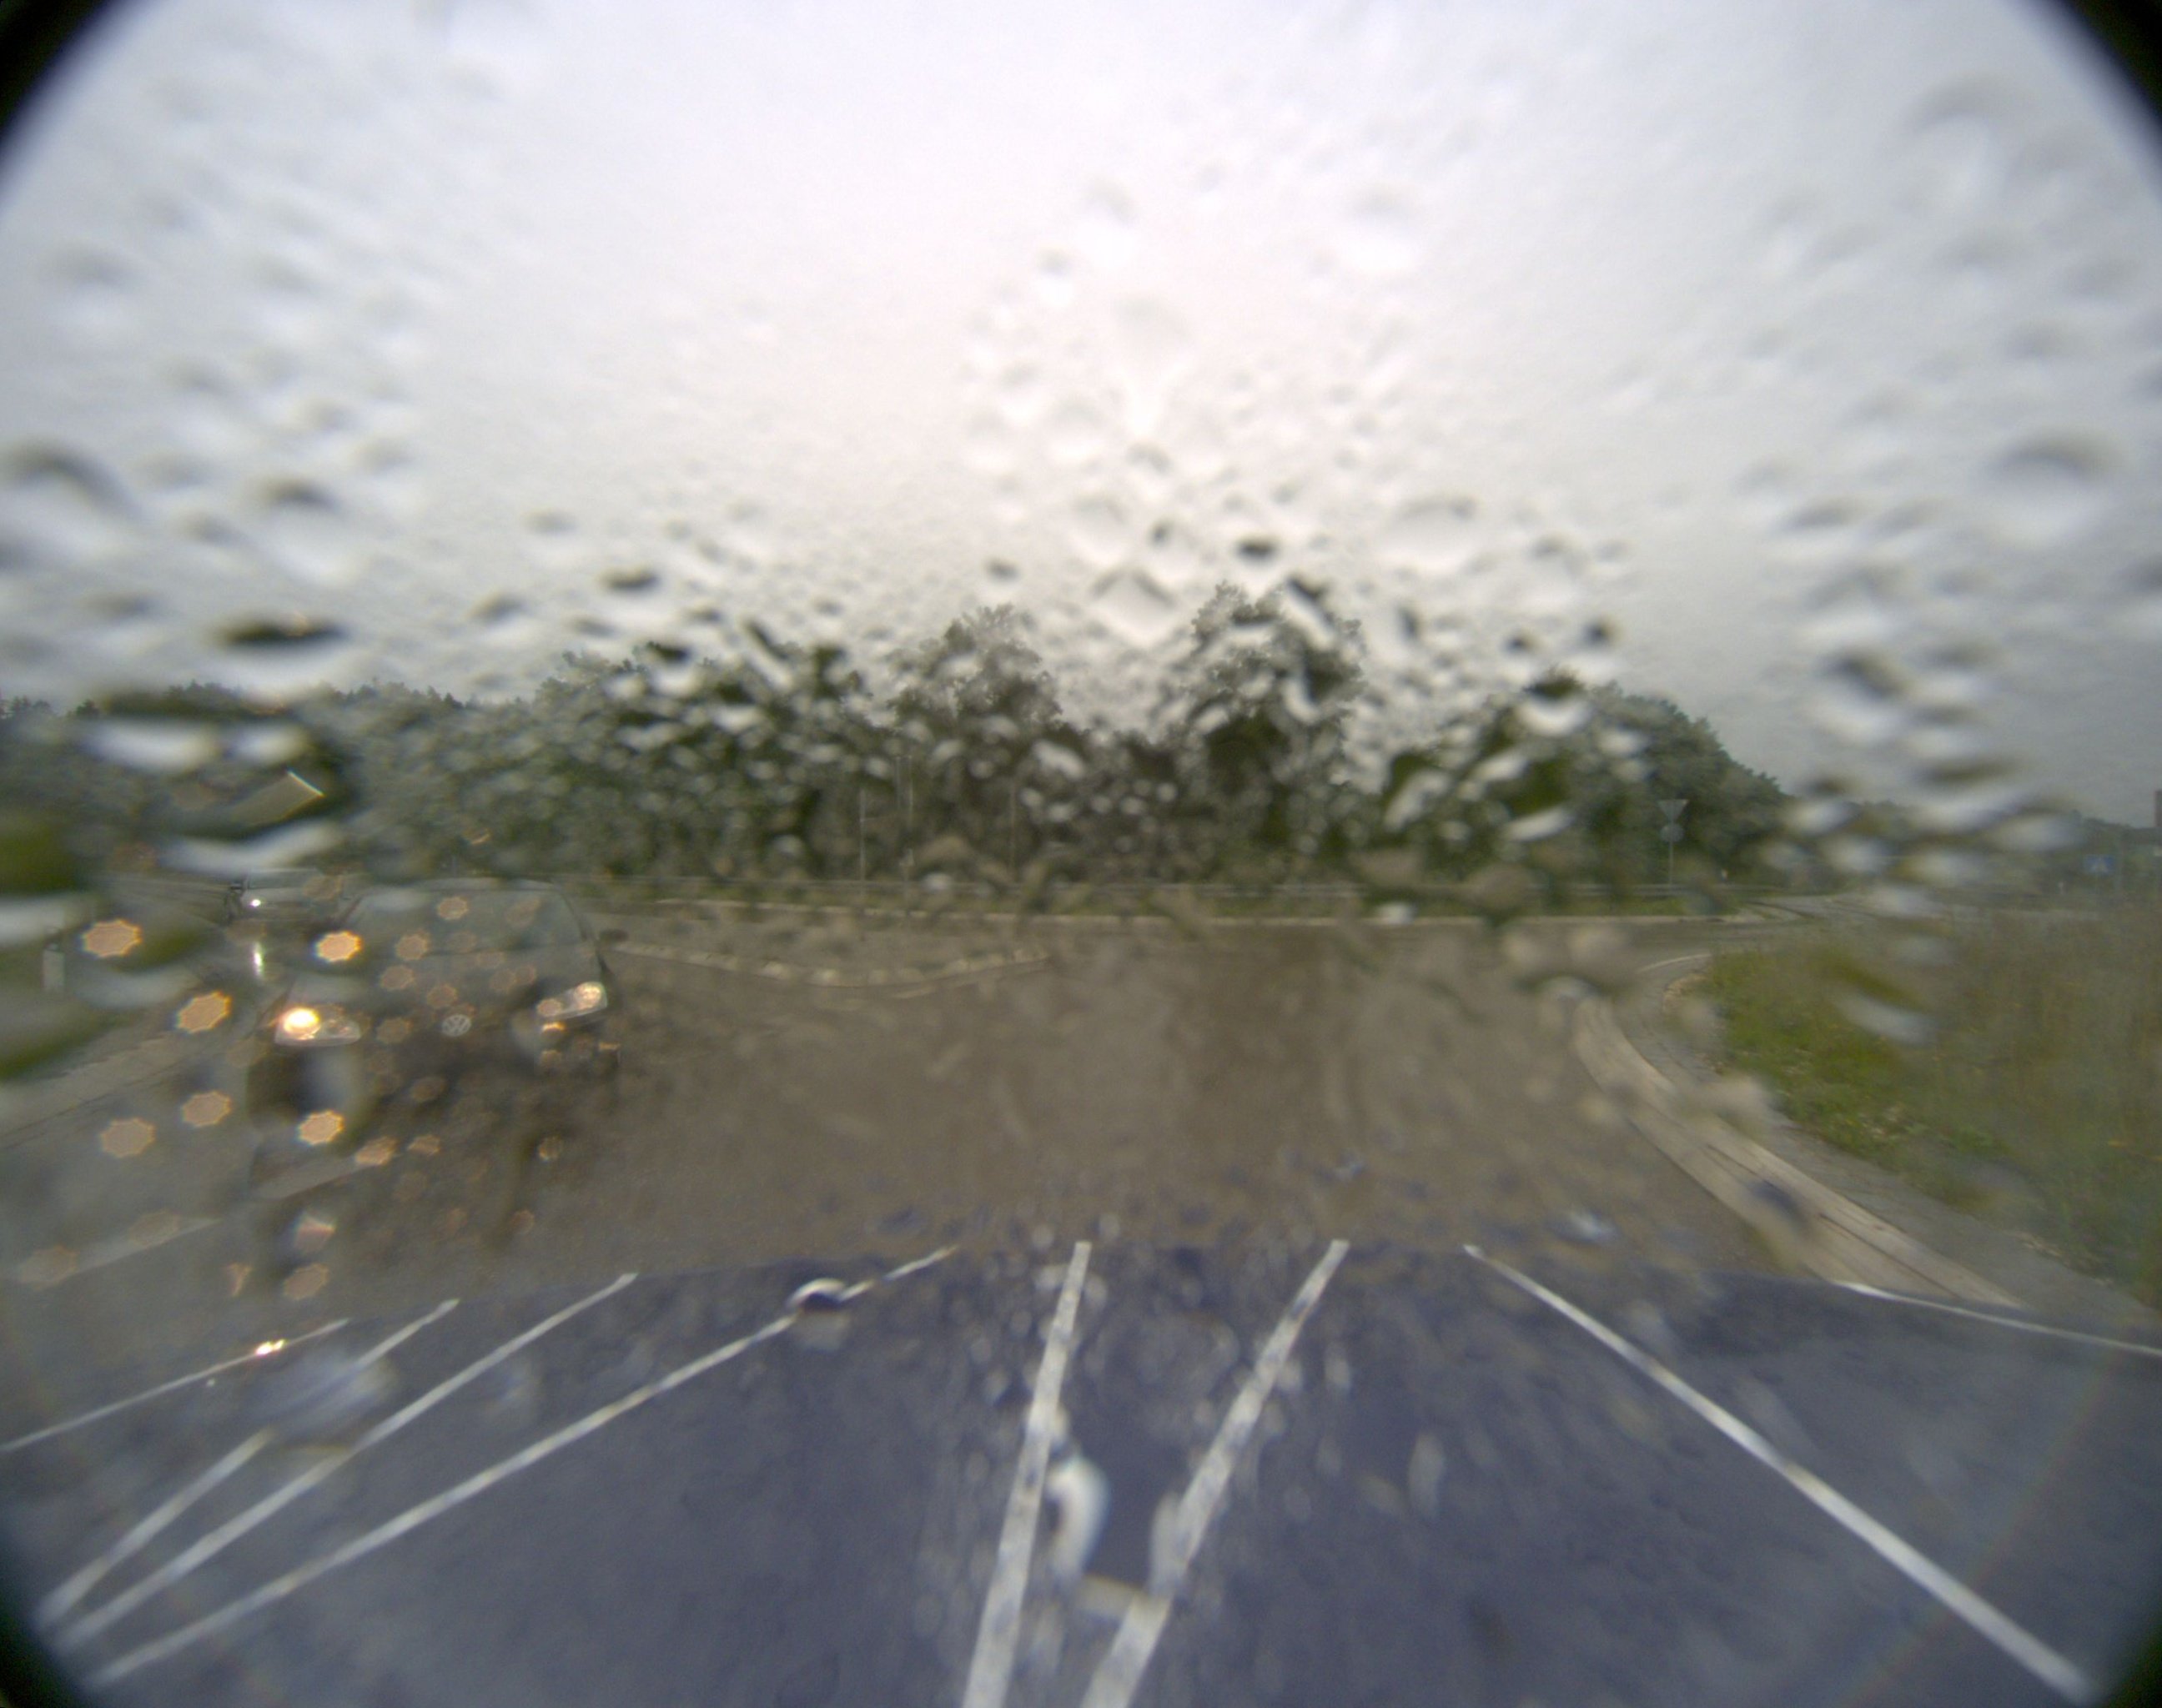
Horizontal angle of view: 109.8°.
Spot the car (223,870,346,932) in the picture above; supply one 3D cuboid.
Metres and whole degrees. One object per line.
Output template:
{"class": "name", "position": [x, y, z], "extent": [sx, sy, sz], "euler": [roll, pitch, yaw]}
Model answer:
{"class": "car", "position": [-20.713, 1.154, 19.709], "extent": [4.491, 1.412, 1.768], "euler": [-1, -1, 38]}

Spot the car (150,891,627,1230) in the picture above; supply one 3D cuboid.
{"class": "car", "position": [-4.767, 1.067, 5.891], "extent": [1.878, 1.412, 4.492], "euler": [0, -1, -34]}

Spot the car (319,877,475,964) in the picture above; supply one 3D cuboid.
{"class": "car", "position": [-13.281, 1.151, 14.648], "extent": [4.491, 1.363, 1.954], "euler": [-1, -1, 45]}
